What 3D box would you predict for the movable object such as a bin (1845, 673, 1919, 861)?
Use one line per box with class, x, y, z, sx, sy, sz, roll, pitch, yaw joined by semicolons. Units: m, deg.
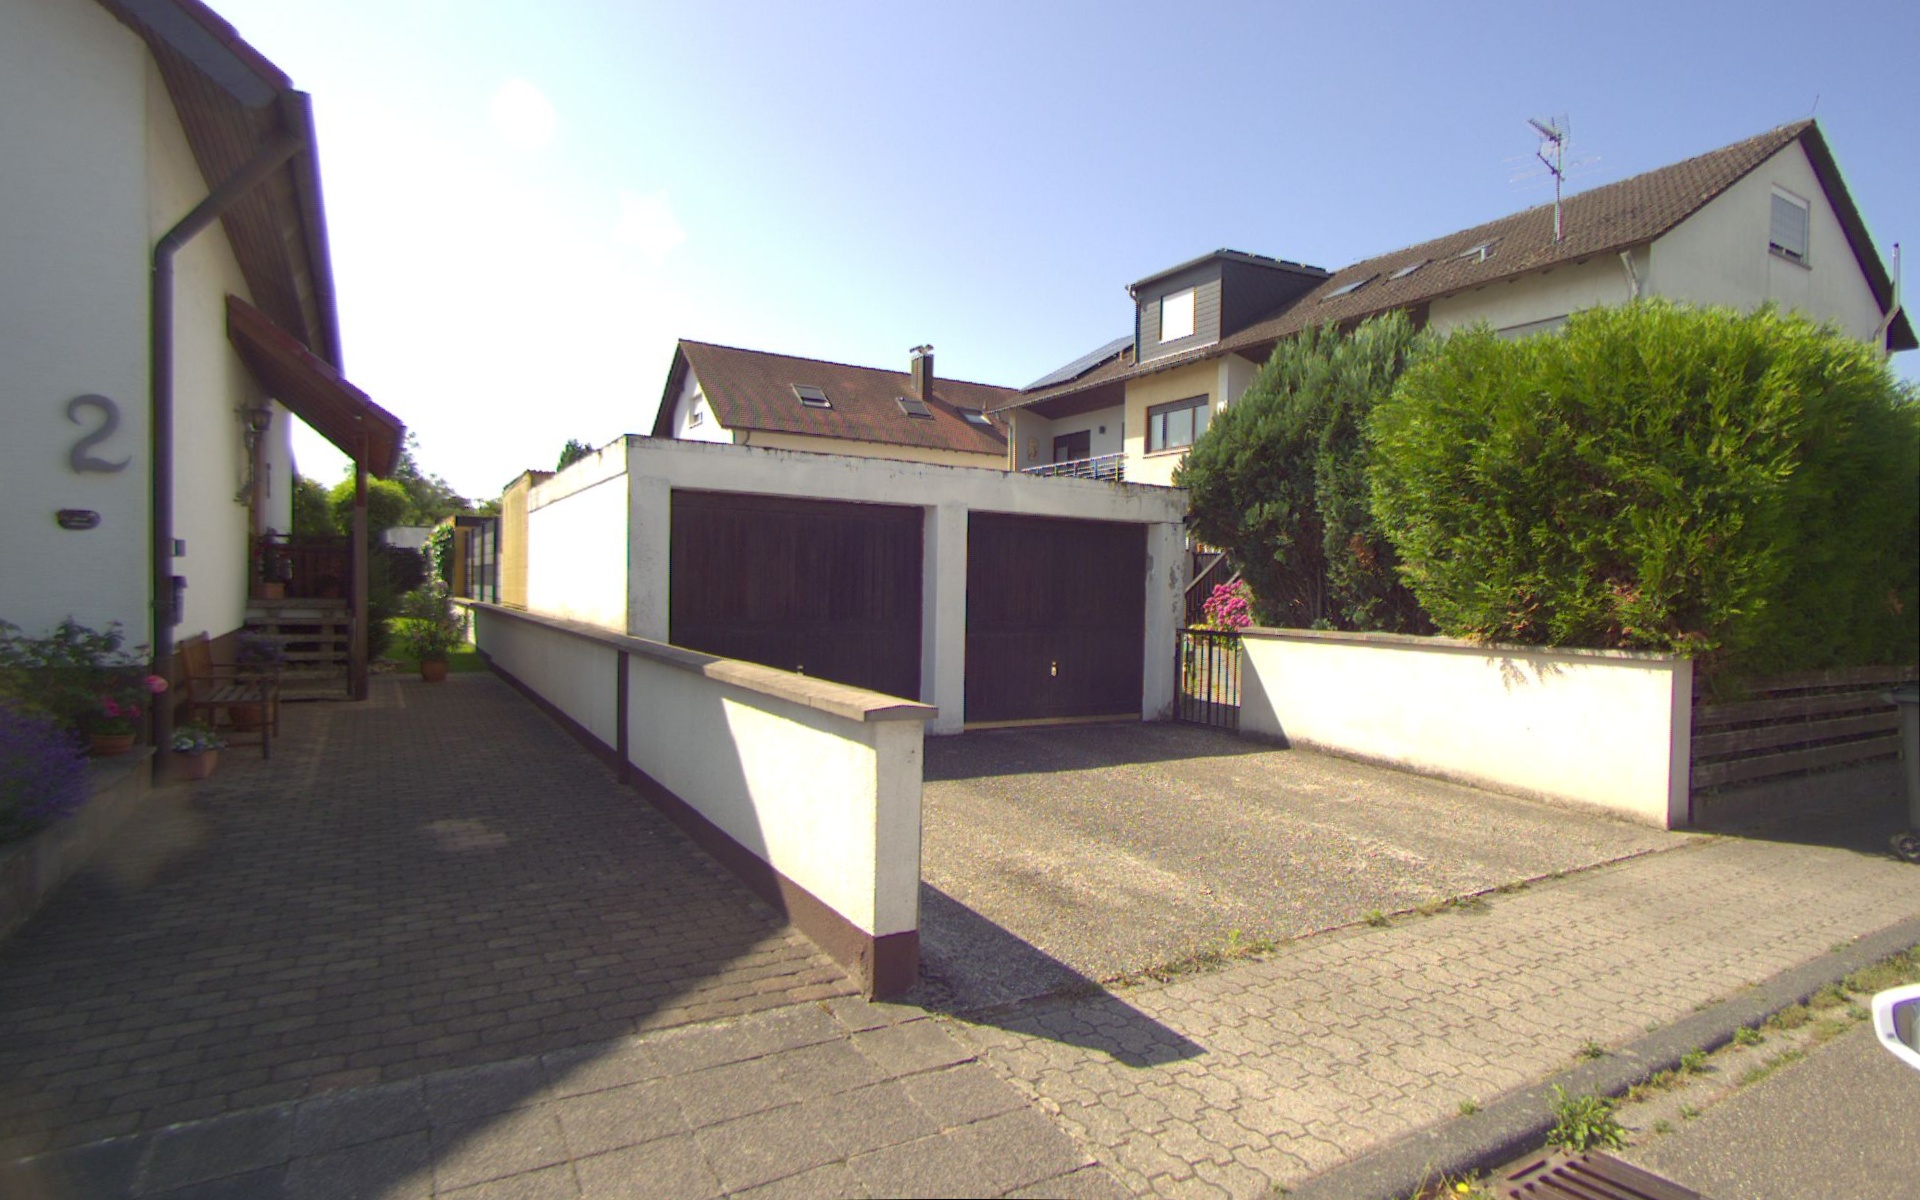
movable object such as a bin;5.991;1.017;6.068;0.604;1.078;0.814;1;0;-31
